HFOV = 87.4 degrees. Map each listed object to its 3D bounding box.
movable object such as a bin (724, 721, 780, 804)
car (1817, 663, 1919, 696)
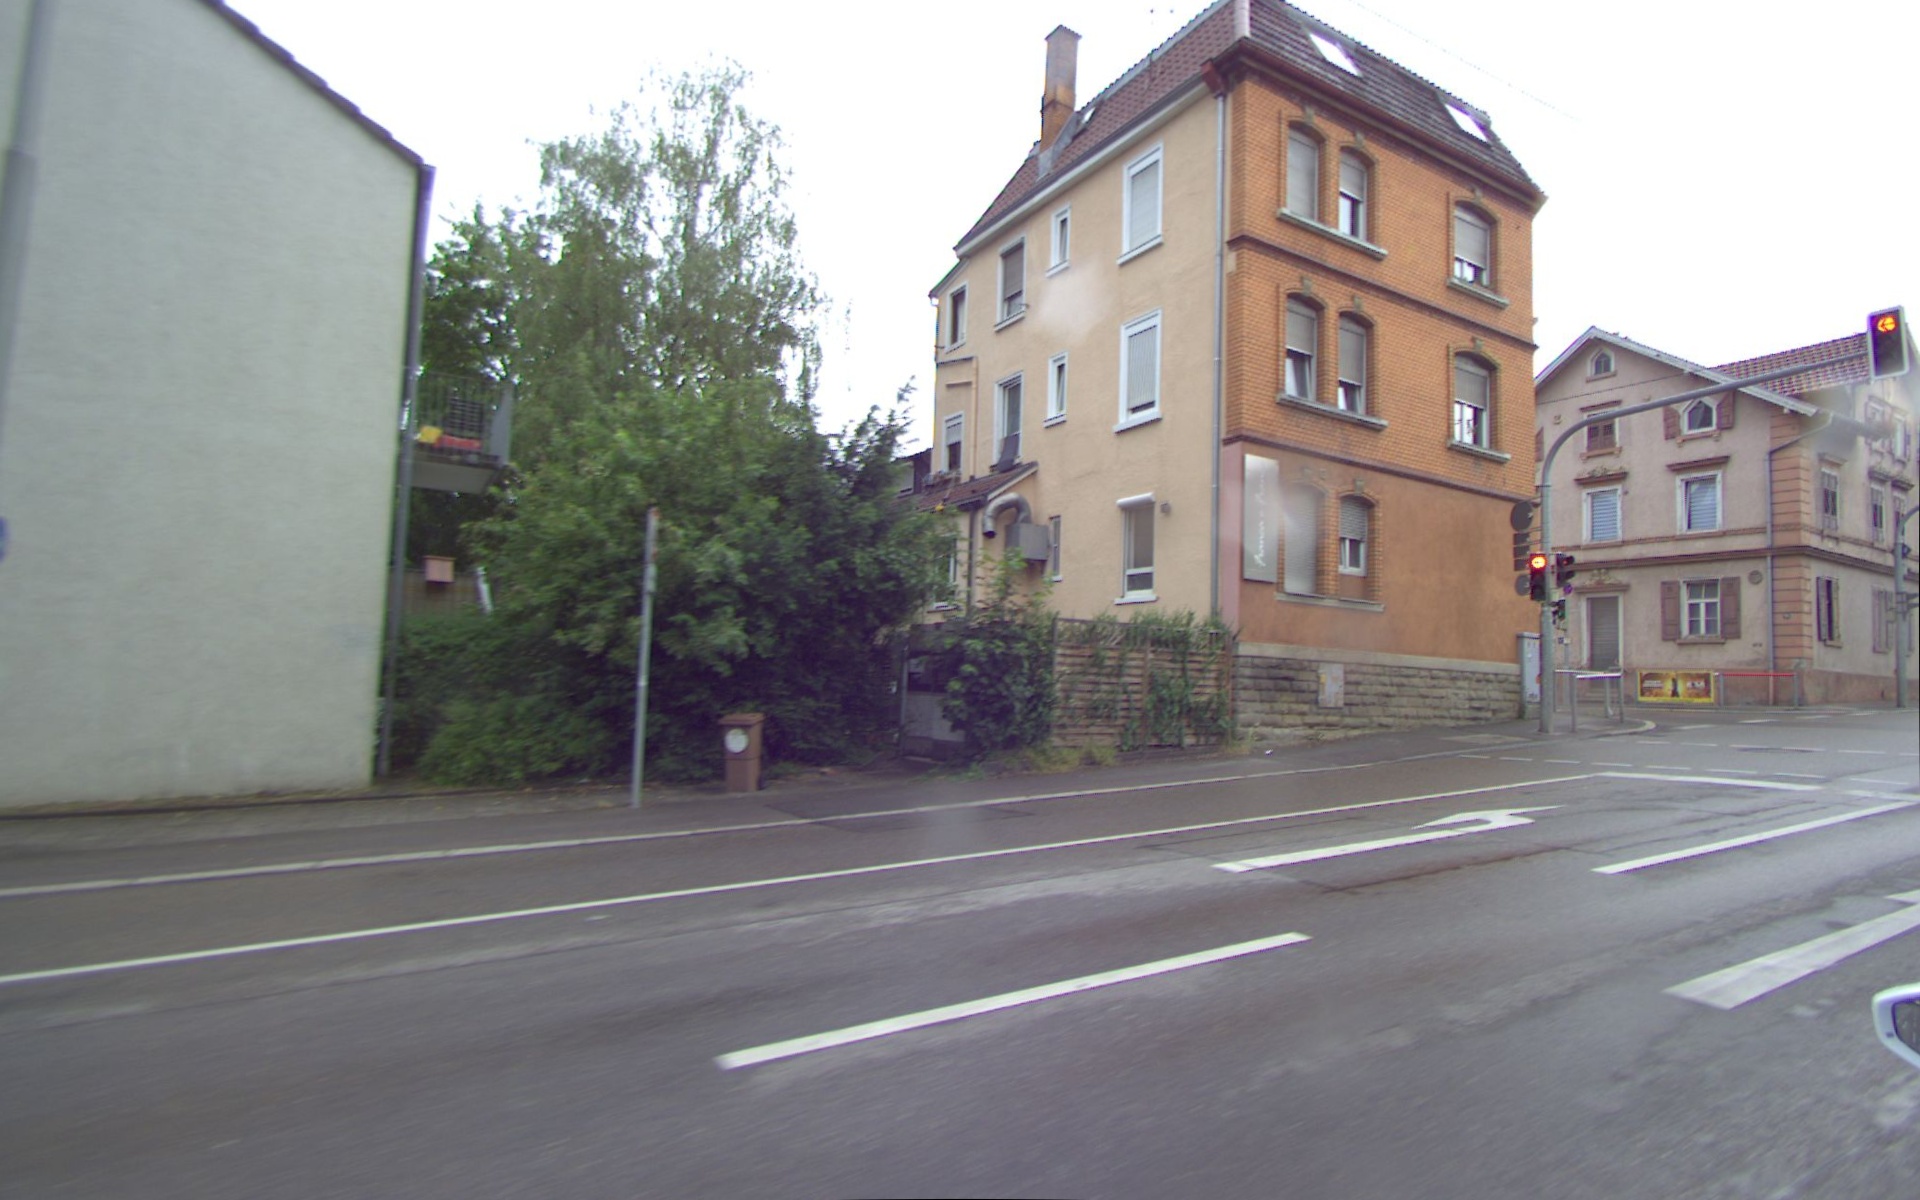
[{"bbox_3d":[-2.523,1.957,12.186,0.521,0.937,0.406,3,-3,-37],"label":"movable object such as a bin"},{"bbox_3d":[35.591,3.037,38.452,1.591,1.178,3.962,3,-4,-34],"label":"car"}]
